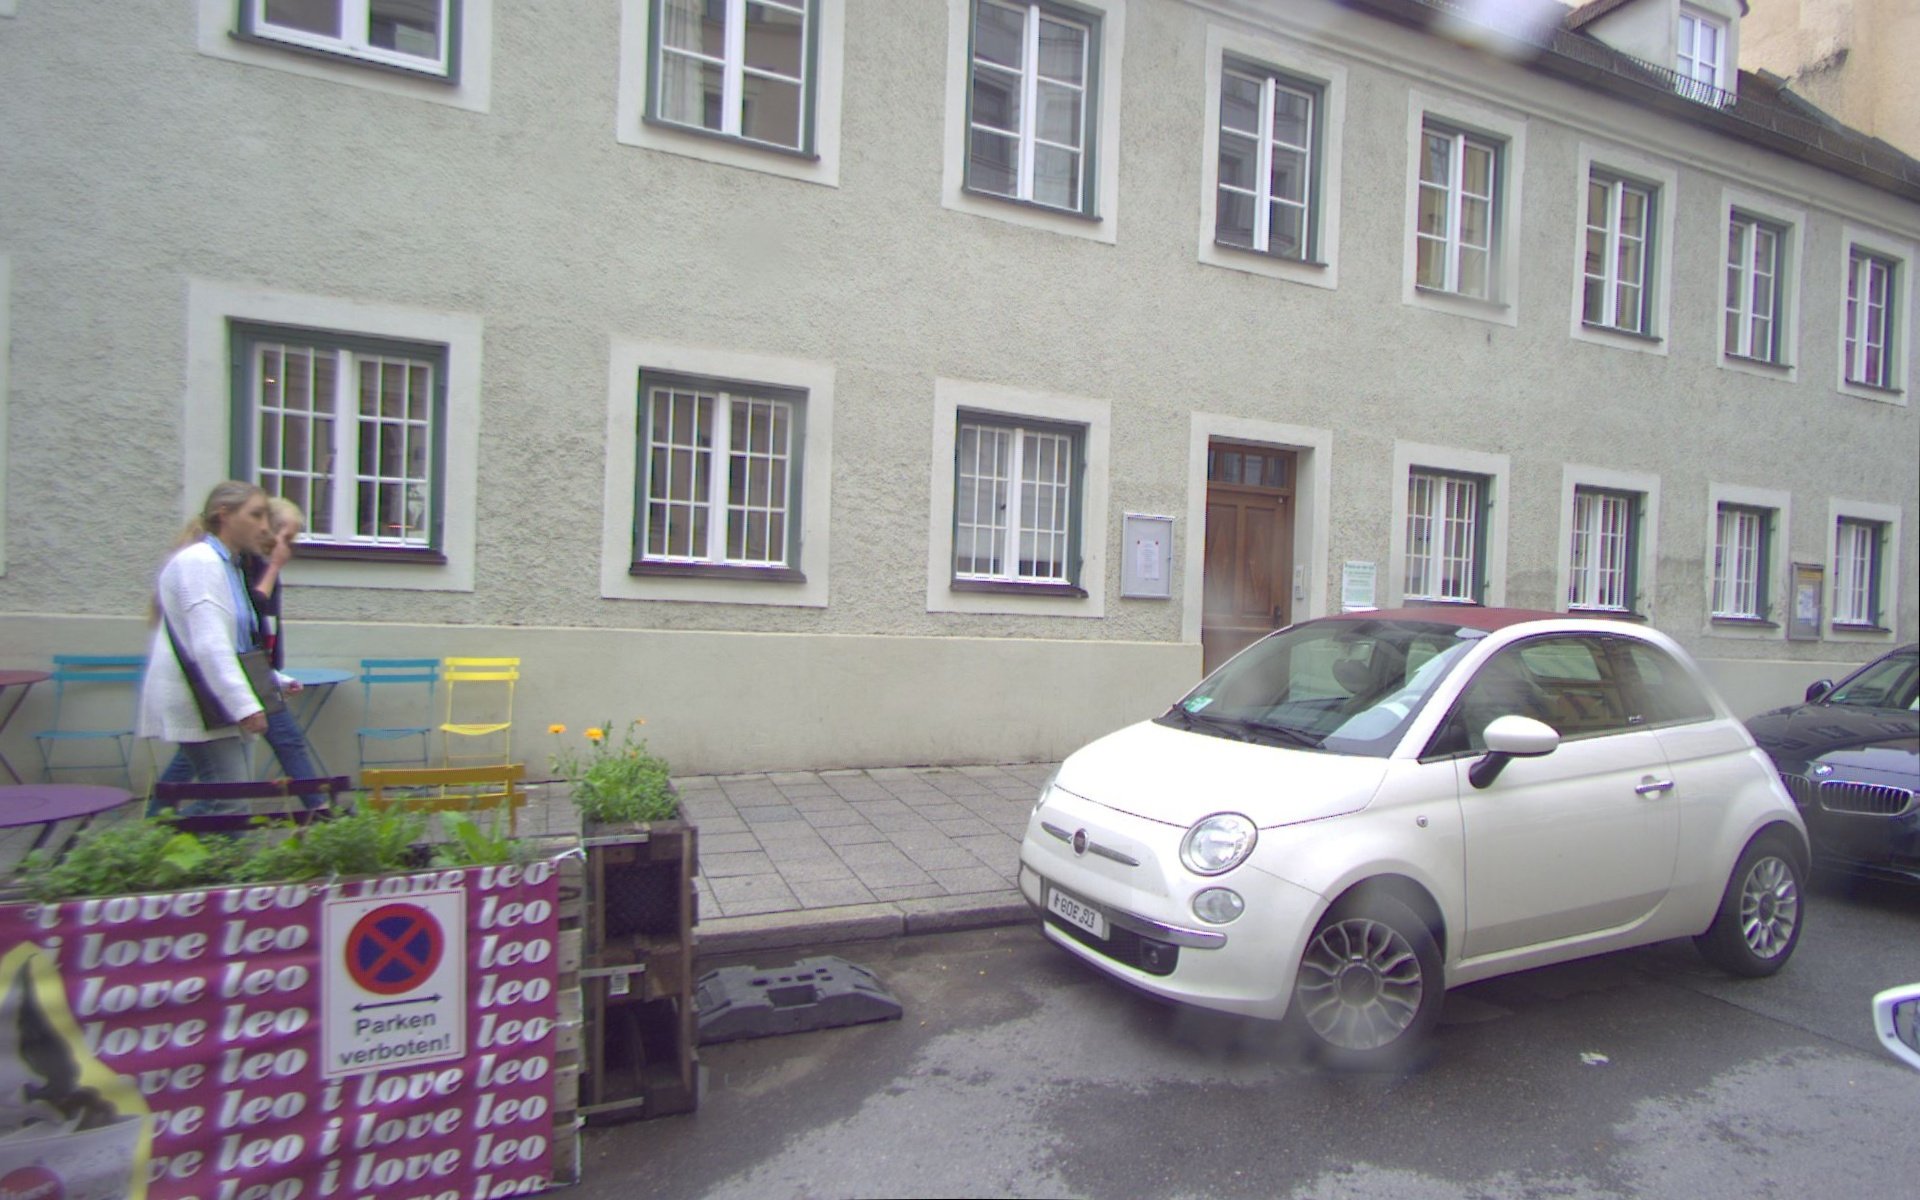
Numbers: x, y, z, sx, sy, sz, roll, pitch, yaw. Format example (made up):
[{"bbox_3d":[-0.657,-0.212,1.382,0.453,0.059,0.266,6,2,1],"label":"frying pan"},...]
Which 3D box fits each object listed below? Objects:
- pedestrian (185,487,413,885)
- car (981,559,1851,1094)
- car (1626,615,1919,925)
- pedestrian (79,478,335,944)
[{"bbox_3d":[-3.097,0.379,4.778,0.796,1.721,0.578,1,1,-26],"label":"pedestrian"},{"bbox_3d":[1.960,0.670,4.310,3.378,1.535,1.564,2,1,-26],"label":"car"},{"bbox_3d":[6.337,0.883,6.094,4.210,1.420,1.852,2,1,-24],"label":"car"},{"bbox_3d":[-2.876,0.390,3.907,0.654,1.620,0.610,1,0,-26],"label":"pedestrian"}]
